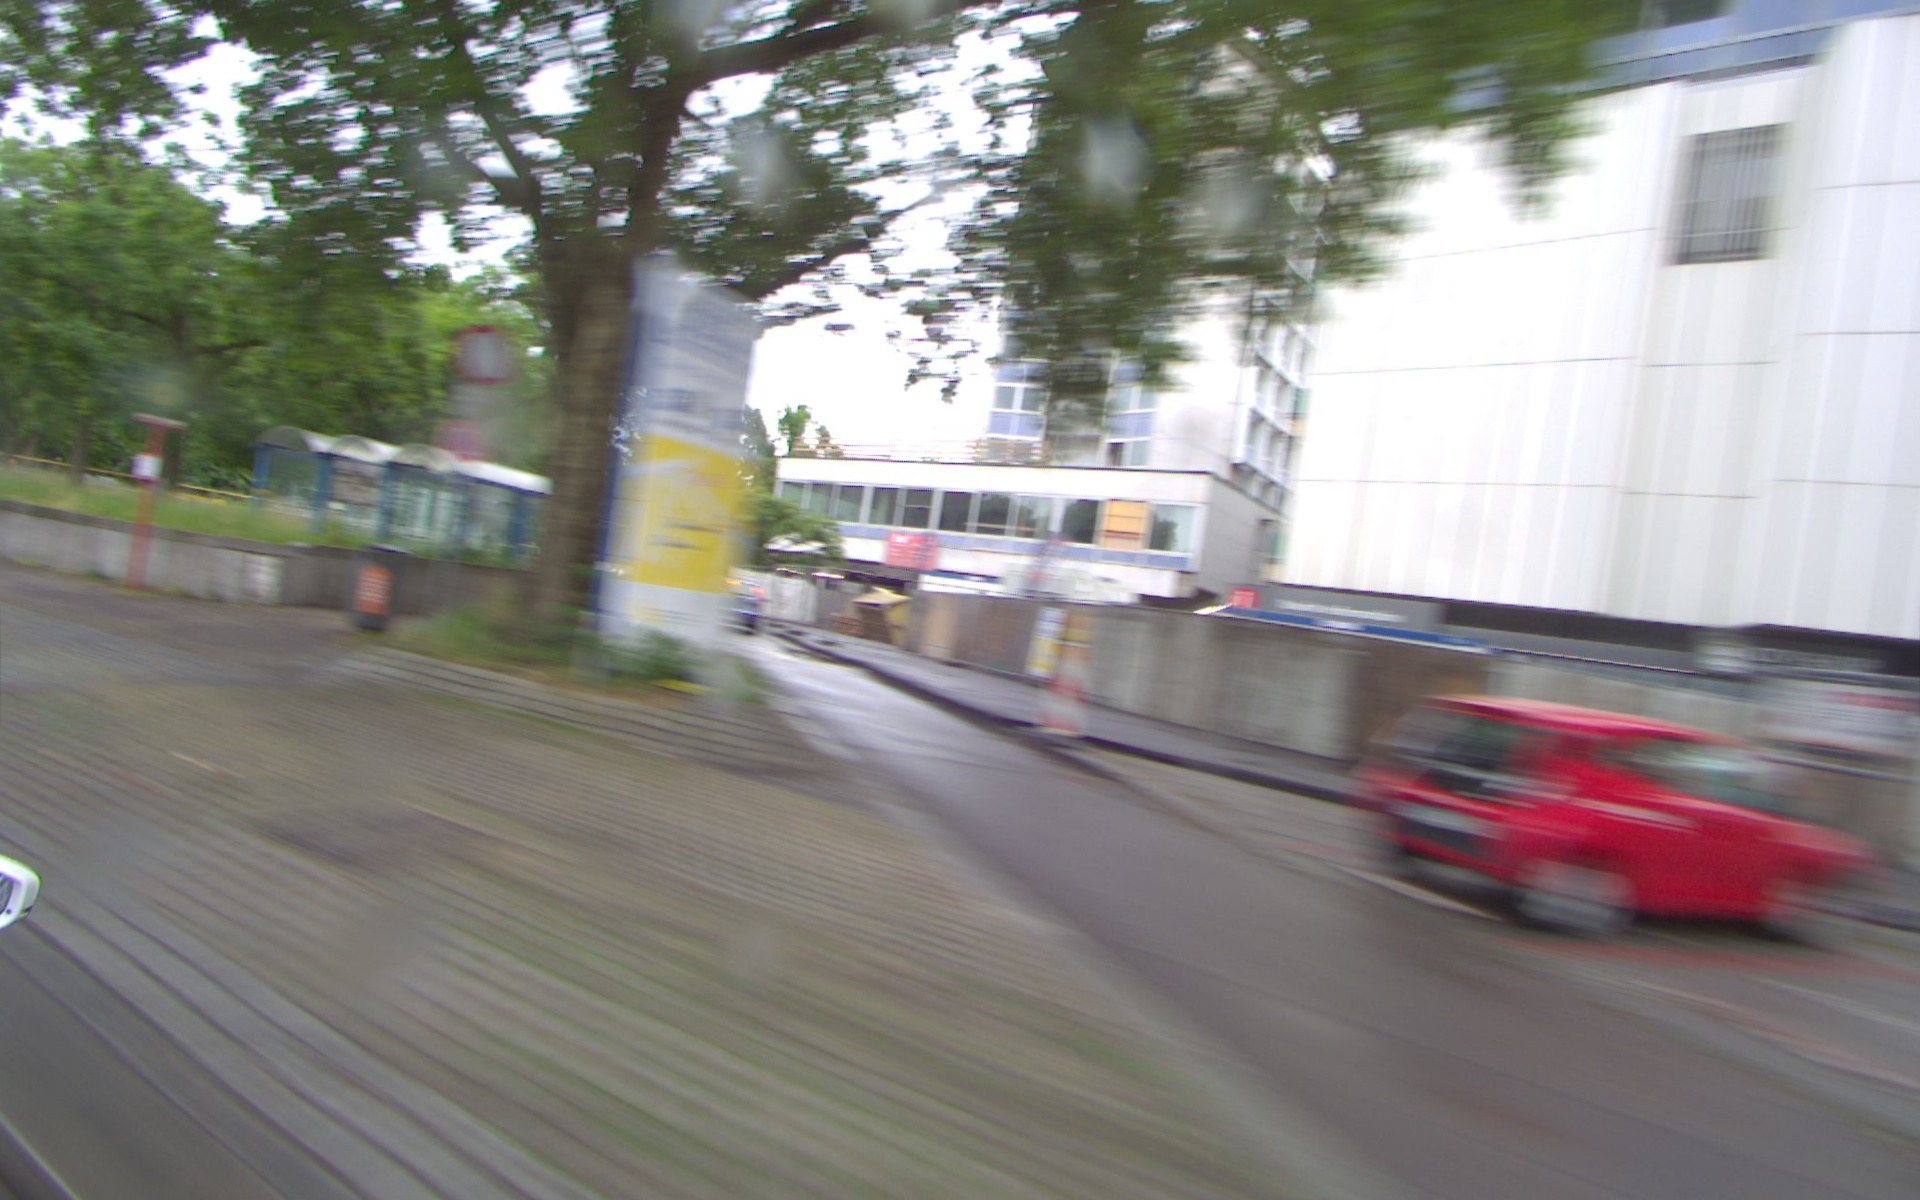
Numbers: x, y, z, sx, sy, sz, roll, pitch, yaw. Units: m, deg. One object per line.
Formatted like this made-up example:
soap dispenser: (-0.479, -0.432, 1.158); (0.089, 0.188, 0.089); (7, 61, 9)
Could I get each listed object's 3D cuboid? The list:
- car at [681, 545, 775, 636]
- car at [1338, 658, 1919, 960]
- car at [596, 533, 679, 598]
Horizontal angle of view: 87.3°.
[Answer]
car: (-6.512, -0.181, 28.741); (2.100, 2.035, 4.644); (10, -3, -10)
car: (4.999, 1.522, 7.574); (3.567, 1.522, 1.730); (10, -3, -16)
car: (-11.701, -1.186, 36.810); (1.918, 1.800, 4.453); (10, -3, -8)
